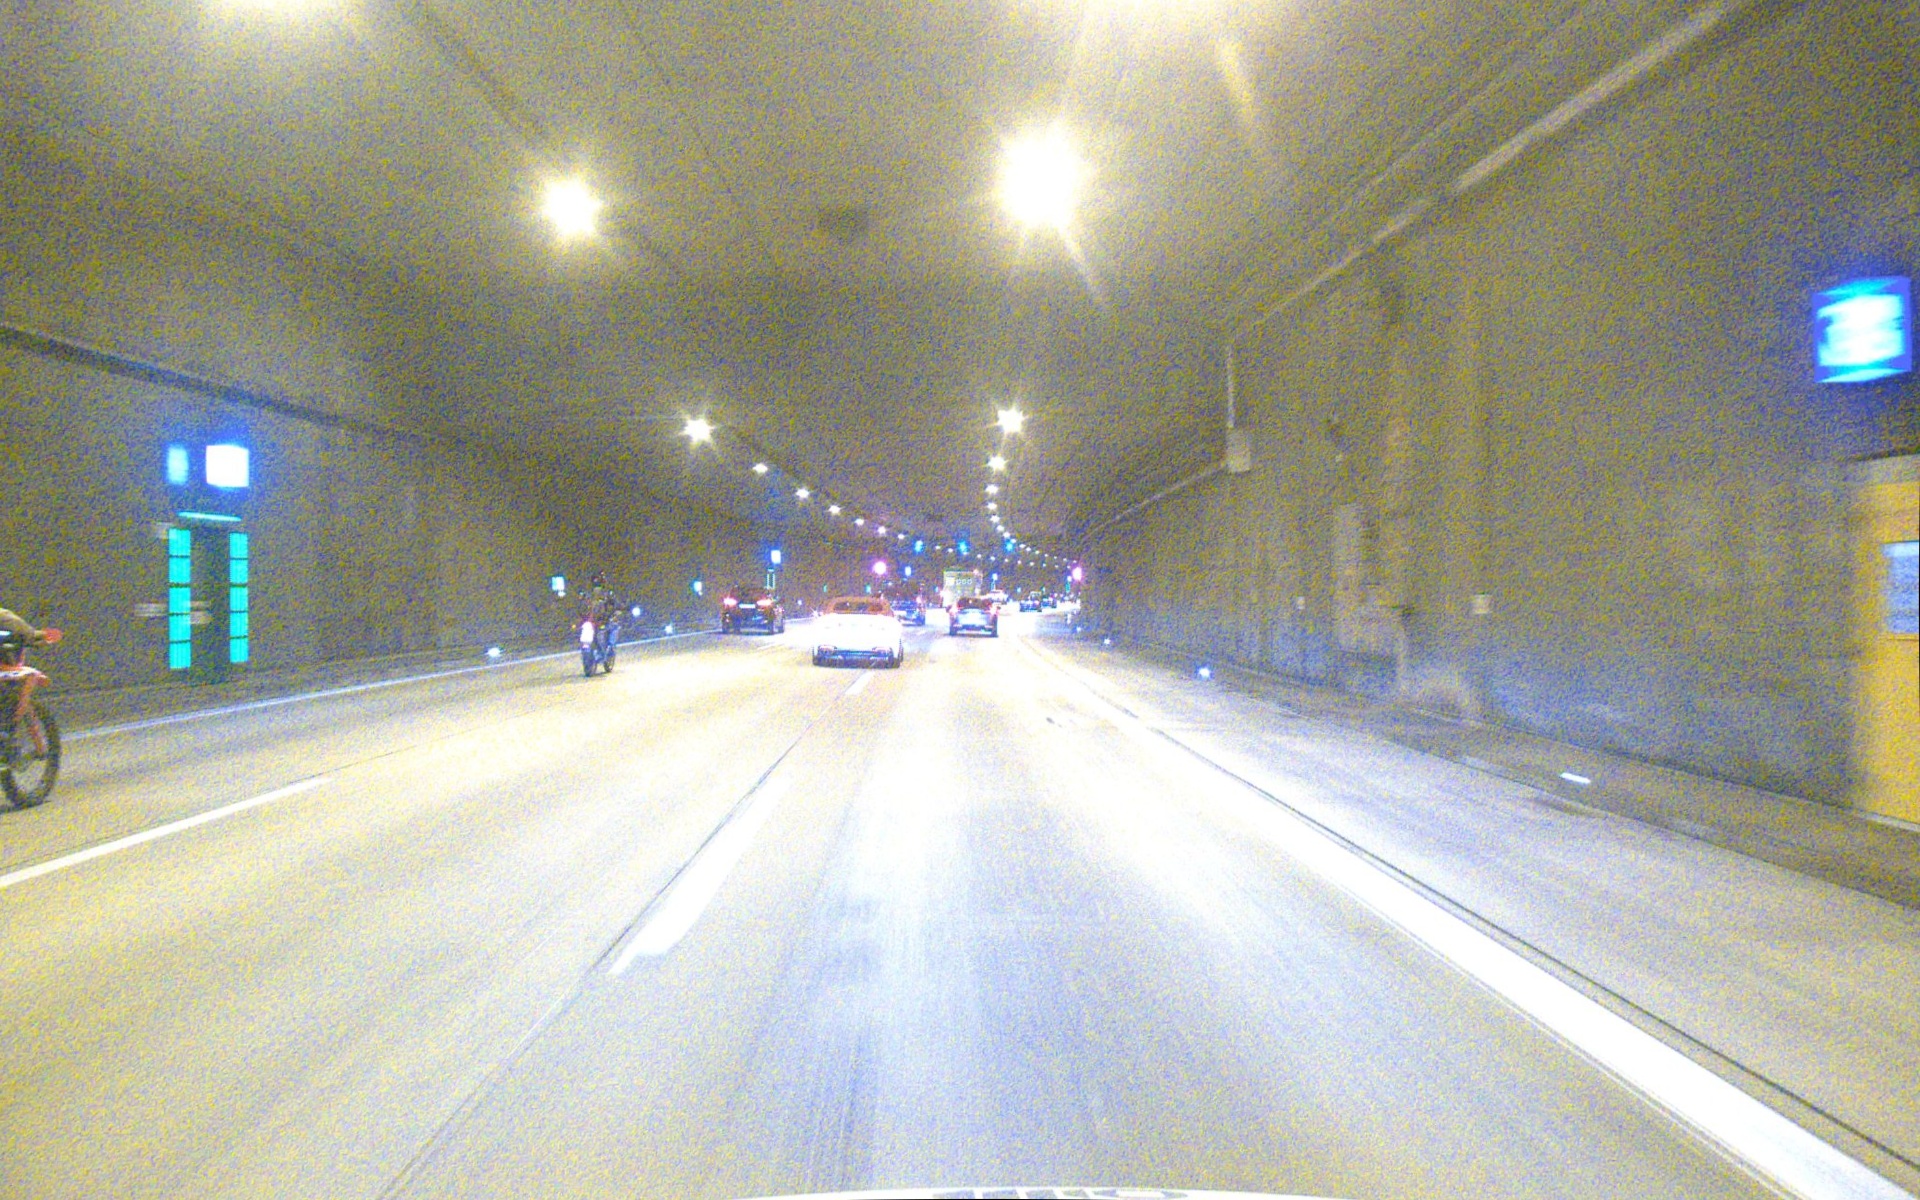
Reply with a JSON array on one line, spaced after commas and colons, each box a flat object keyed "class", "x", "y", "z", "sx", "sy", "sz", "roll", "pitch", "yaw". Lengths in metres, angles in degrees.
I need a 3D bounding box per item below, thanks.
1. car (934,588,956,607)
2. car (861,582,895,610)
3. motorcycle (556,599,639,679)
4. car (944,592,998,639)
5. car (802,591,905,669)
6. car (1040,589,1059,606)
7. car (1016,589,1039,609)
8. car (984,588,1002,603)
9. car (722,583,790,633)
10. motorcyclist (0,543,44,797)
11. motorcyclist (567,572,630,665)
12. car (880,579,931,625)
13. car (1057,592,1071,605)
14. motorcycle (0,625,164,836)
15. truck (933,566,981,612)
[{"class": "car", "x": -1.285, "y": -0.271, "z": 146.349, "sx": 1.805, "sy": 1.632, "sz": 4.001, "roll": -1, "pitch": 0, "yaw": 1}, {"class": "car", "x": -5.304, "y": -0.258, "z": 107.268, "sx": 1.763, "sy": 1.713, "sz": 4.002, "roll": -3, "pitch": 0, "yaw": 3}, {"class": "motorcycle", "x": -6.101, "y": 0.629, "z": 27.989, "sx": 0.828, "sy": 1.267, "sz": 2.604, "roll": 1, "pitch": 0, "yaw": 0}, {"class": "car", "x": 0.391, "y": 0.544, "z": 61.723, "sx": 1.803, "sy": 1.630, "sz": 3.998, "roll": 2, "pitch": 0, "yaw": -2}, {"class": "car", "x": -2.162, "y": 0.589, "z": 34.554, "sx": 1.953, "sy": 1.509, "sz": 3.999, "roll": 1, "pitch": 0, "yaw": -1}, {"class": "car", "x": 8.918, "y": -0.275, "z": 165.117, "sx": 1.820, "sy": 1.695, "sz": 4.001, "roll": -1, "pitch": 0, "yaw": 2}, {"class": "car", "x": 5.534, "y": -0.122, "z": 136.634, "sx": 1.805, "sy": 1.595, "sz": 4.001, "roll": -1, "pitch": 0, "yaw": 1}, {"class": "car", "x": 3.596, "y": -0.498, "z": 180.058, "sx": 1.793, "sy": 1.646, "sz": 4.000, "roll": -1, "pitch": 0, "yaw": -1}, {"class": "car", "x": -6.791, "y": 0.253, "z": 55.424, "sx": 1.748, "sy": 1.626, "sz": 3.802, "roll": 0, "pitch": 0, "yaw": 1}, {"class": "motorcyclist", "x": -6.040, "y": 0.420, "z": 9.897, "sx": 0.614, "sy": 1.515, "sz": 0.890, "roll": 0, "pitch": 0, "yaw": 0}, {"class": "motorcyclist", "x": -6.079, "y": 0.307, "z": 27.872, "sx": 0.822, "sy": 1.503, "sz": 0.821, "roll": 2, "pitch": 0, "yaw": 1}, {"class": "car", "x": -2.448, "y": 0.088, "z": 75.220, "sx": 1.952, "sy": 2.006, "sz": 4.002, "roll": 2, "pitch": 0, "yaw": 3}, {"class": "car", "x": 13.537, "y": -0.217, "z": 215.236, "sx": 1.794, "sy": 1.720, "sz": 4.003, "roll": -1, "pitch": 0, "yaw": 5}, {"class": "motorcycle", "x": -6.032, "y": 0.765, "z": 10.227, "sx": 1.031, "sy": 1.178, "sz": 2.427, "roll": 1, "pitch": 0, "yaw": 0}, {"class": "truck", "x": -0.138, "y": -0.865, "z": 123.494, "sx": 3.018, "sy": 3.167, "sz": 10.033, "roll": -2, "pitch": 1, "yaw": 2}]
